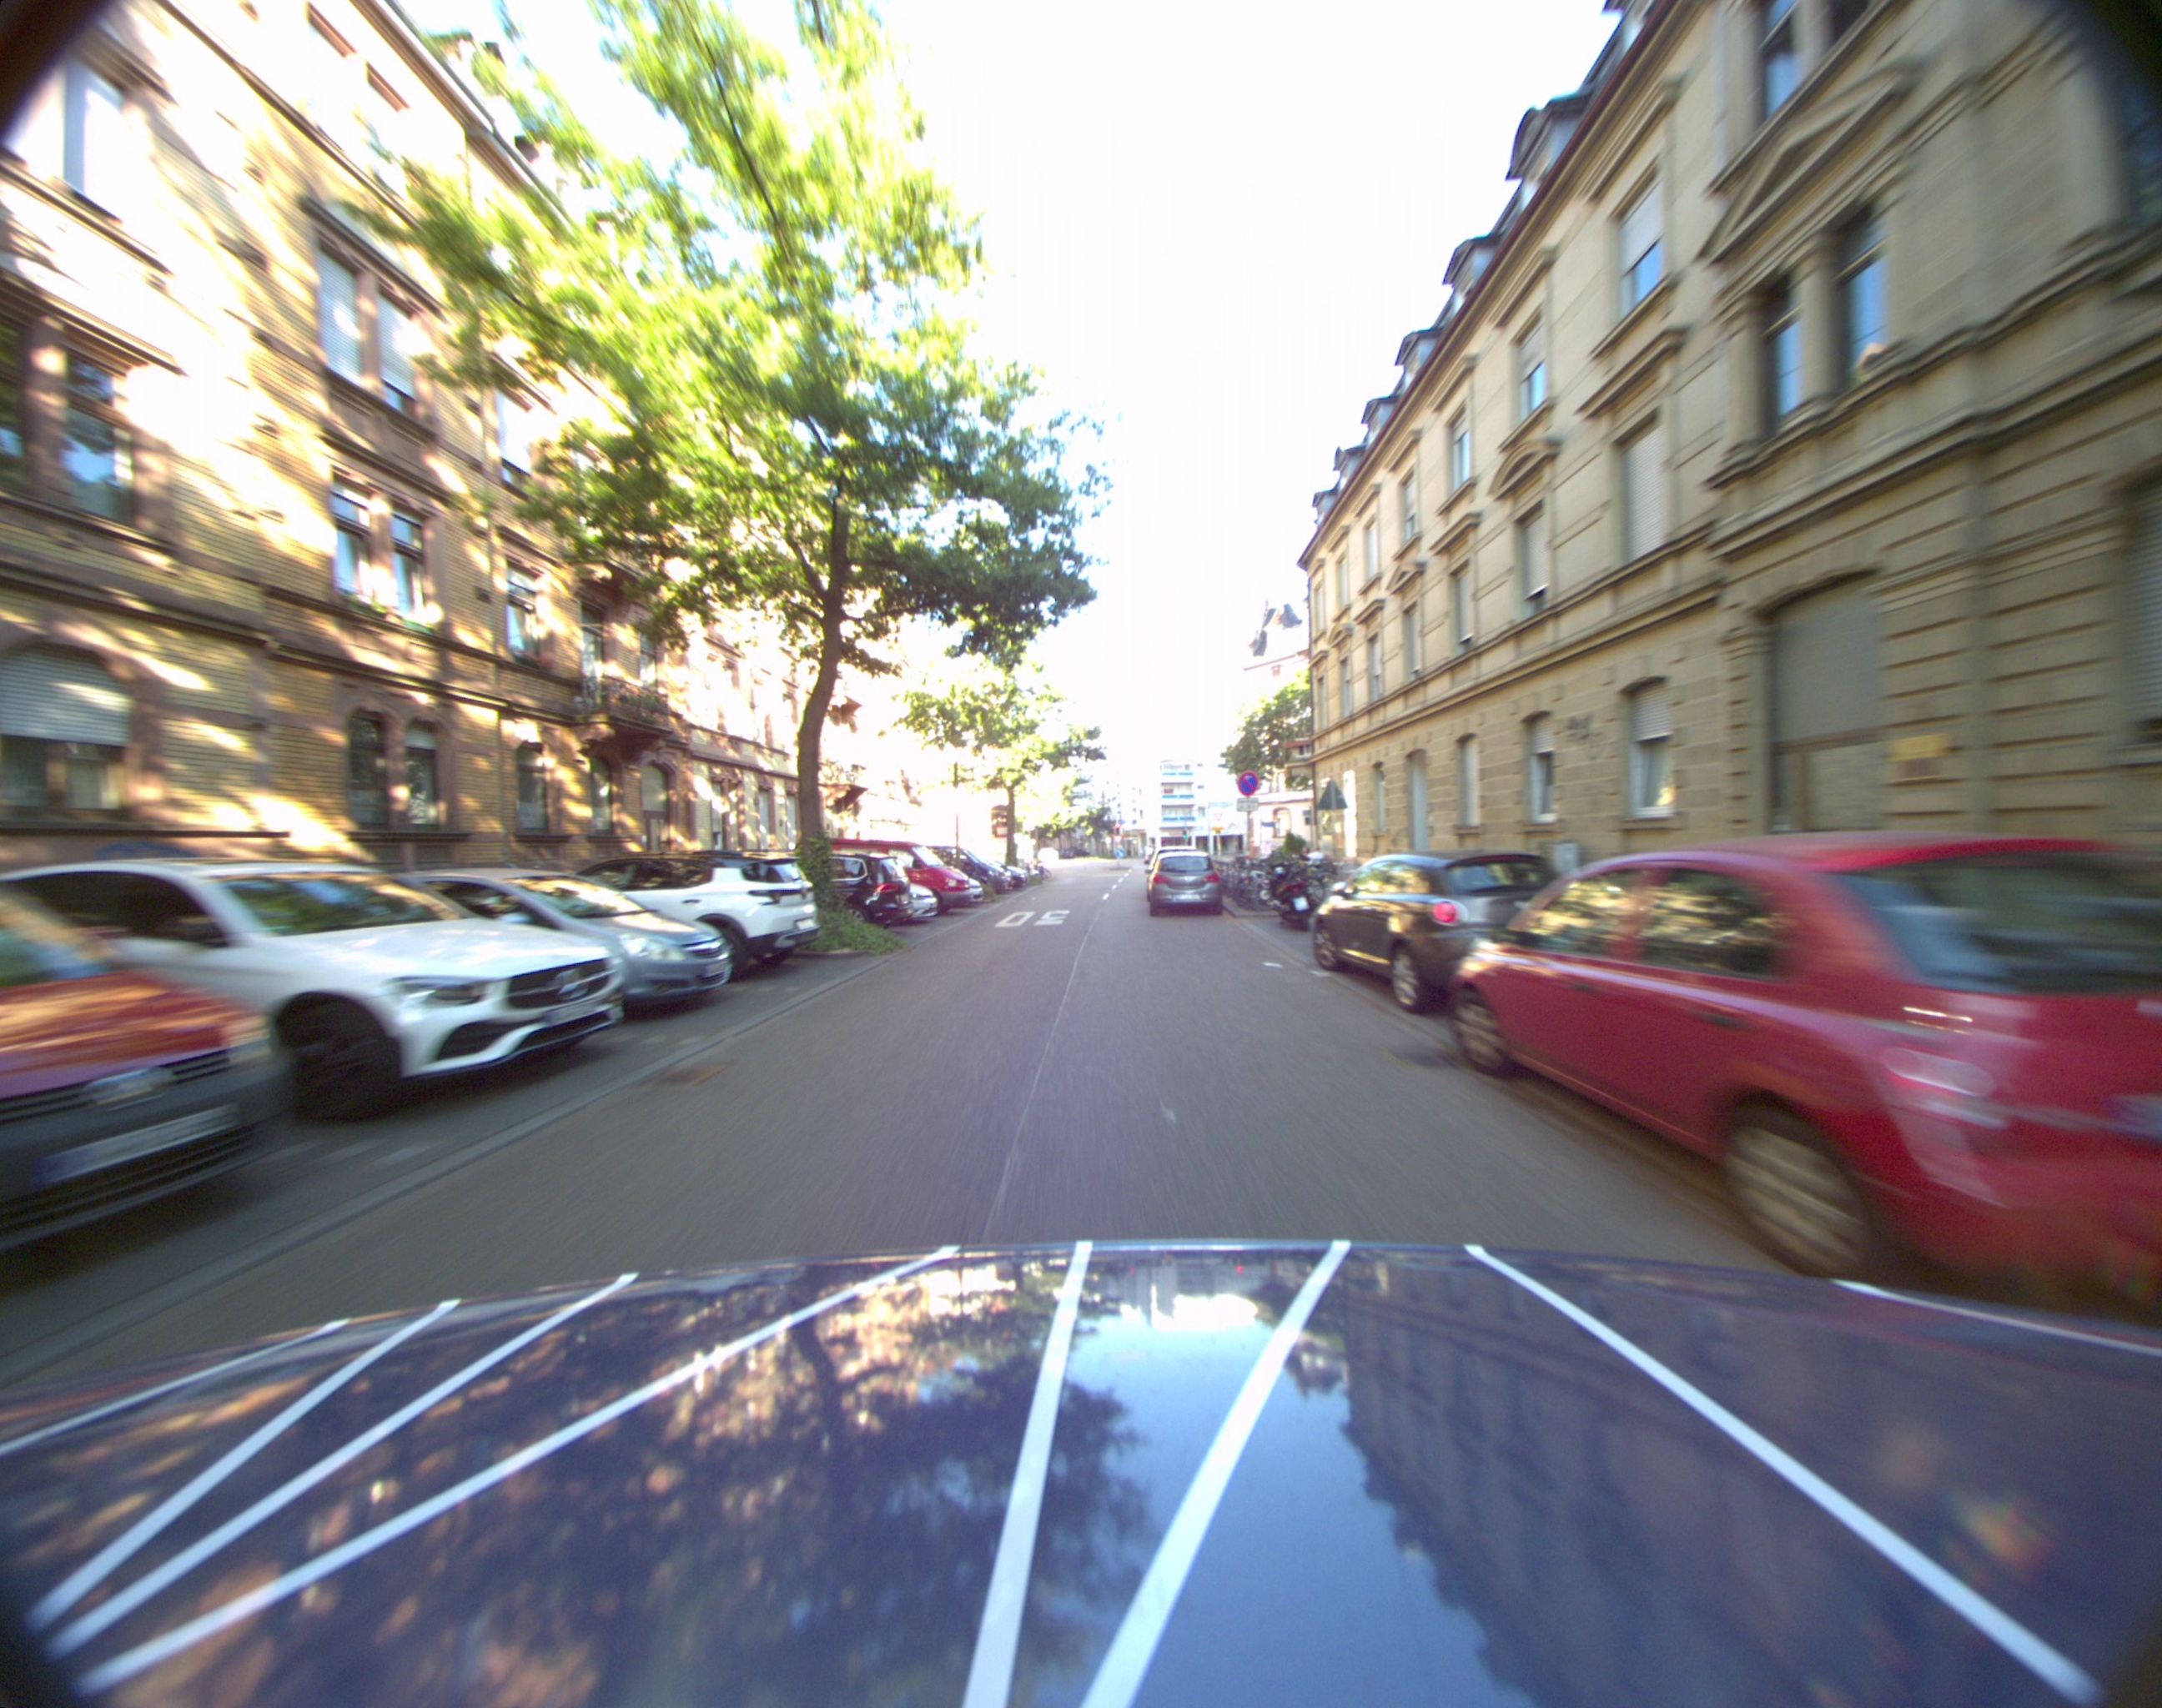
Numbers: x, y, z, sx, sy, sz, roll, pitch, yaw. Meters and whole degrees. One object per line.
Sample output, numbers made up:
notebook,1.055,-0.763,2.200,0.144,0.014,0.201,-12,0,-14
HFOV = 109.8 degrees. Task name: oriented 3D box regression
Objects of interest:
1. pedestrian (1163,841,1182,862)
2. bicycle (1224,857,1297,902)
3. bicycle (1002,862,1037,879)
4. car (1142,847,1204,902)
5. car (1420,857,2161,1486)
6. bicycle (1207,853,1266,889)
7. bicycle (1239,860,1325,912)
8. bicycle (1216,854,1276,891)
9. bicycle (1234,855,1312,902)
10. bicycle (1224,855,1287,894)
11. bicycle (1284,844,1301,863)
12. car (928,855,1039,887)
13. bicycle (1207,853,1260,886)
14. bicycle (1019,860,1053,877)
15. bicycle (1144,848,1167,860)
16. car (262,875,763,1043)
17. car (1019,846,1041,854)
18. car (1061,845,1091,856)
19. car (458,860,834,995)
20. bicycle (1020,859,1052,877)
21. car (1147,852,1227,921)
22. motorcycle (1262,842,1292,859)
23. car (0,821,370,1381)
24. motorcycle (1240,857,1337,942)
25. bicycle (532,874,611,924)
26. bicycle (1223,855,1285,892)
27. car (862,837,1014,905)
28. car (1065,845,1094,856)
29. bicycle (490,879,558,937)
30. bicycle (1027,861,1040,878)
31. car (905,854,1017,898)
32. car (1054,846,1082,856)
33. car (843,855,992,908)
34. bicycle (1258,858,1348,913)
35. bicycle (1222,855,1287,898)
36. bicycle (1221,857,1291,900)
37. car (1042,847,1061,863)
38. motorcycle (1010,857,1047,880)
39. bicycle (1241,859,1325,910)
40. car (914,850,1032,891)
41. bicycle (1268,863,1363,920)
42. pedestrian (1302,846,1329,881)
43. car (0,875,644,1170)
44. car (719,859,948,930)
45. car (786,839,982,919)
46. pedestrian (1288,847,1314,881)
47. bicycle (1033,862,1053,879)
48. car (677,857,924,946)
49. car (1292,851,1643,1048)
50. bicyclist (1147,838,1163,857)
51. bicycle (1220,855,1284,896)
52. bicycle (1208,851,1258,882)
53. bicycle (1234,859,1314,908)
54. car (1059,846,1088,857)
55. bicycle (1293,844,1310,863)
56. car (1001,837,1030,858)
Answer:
pedestrian,7.503,-0.217,62.499,1.175,1.670,1.005,-3,1,-27
bicycle,5.058,0.719,21.462,1.871,1.122,0.528,-3,2,3
bicycle,-3.391,0.913,41.972,1.935,0.922,0.354,1,2,2
car,2.966,0.594,24.586,1.762,1.590,4.552,-1,0,7
car,3.202,0.818,3.718,1.596,1.466,3.700,-4,0,4
bicycle,5.371,0.599,26.306,1.871,1.122,0.528,-3,2,5
bicycle,4.793,0.759,18.175,1.871,1.122,0.528,-3,2,3
bicycle,5.541,0.617,25.624,1.871,1.122,0.528,-3,2,5
bicycle,5.070,0.646,20.120,1.871,1.122,0.528,-3,2,3
bicycle,5.570,0.664,24.316,1.871,1.122,0.528,-3,2,5
bicycle,13.573,-0.038,48.850,0.547,1.189,2.960,-2,1,7
car,-4.469,0.774,35.320,4.795,1.405,1.851,0,1,5
bicycle,5.787,0.600,28.892,1.871,1.122,0.528,-3,2,5
bicycle,-2.622,0.822,44.629,1.938,0.982,0.496,0,2,-20
bicycle,6.382,-0.010,65.278,1.881,0.907,0.633,-4,1,-27
car,-5.756,1.003,8.042,4.019,1.426,1.794,1,1,4
car,-11.070,-0.833,164.816,4.307,1.576,1.997,-2,1,-16
car,-0.818,-0.526,121.949,4.307,1.576,1.997,-2,1,-18
car,-5.660,0.915,10.279,4.020,1.618,1.805,0,1,1
bicycle,-2.701,0.819,45.566,1.940,1.046,0.501,0,2,-34
car,2.558,0.732,19.160,1.762,1.492,4.061,-1,0,5
motorcycle,14.793,-0.269,57.388,2.112,1.258,0.841,-2,1,-23
car,-5.892,0.820,3.014,4.454,1.913,1.850,1,0,2
motorcycle,3.791,0.778,14.201,1.068,1.362,2.606,-3,1,0
bicycle,-11.043,0.941,16.537,0.405,0.957,1.867,1,1,3
bicycle,5.684,0.637,24.987,1.871,1.122,0.528,-3,2,5
car,-5.125,0.595,27.744,5.033,2.202,1.993,-2,1,3
car,-0.268,-0.607,119.565,4.003,1.576,1.997,-2,1,-18
bicycle,-10.699,1.001,14.650,0.406,0.957,1.864,1,1,-15
bicycle,-2.708,0.872,43.230,0.354,0.922,1.526,1,2,10
car,-4.767,0.860,30.544,4.115,1.526,1.725,-2,1,3
car,-2.202,-0.492,126.744,4.307,1.576,1.997,-2,1,-18
car,-4.854,0.815,22.986,4.063,1.502,1.879,0,1,2
bicycle,5.129,0.722,17.619,1.871,1.122,0.528,-3,2,3
bicycle,5.216,0.661,22.816,1.875,1.122,0.527,-4,2,-20
bicycle,5.087,0.694,22.106,1.871,1.122,0.528,-3,2,3
car,-3.461,0.113,89.032,1.999,1.740,3.998,-2,1,-4
motorcycle,-2.847,0.771,41.350,1.902,1.227,0.686,0,1,3
bicycle,4.966,0.743,18.751,1.871,1.122,0.528,-3,2,3
car,-4.644,0.696,32.913,4.695,1.669,1.852,0,1,12
bicycle,5.157,0.812,16.755,1.871,1.122,0.528,-3,2,3
pedestrian,8.578,0.342,27.801,0.727,1.207,0.756,-2,1,0
car,-5.800,0.973,5.509,4.351,1.547,1.852,1,0,10
car,-5.640,0.888,17.686,4.685,1.506,1.879,0,1,4
car,-5.146,0.625,20.290,4.685,2.022,1.879,0,1,3
pedestrian,8.435,0.362,29.146,0.727,1.252,0.756,-2,1,0
bicycle,-2.152,0.927,42.808,0.353,0.922,1.416,2,2,33
car,-5.438,0.881,15.093,4.196,1.618,1.837,0,1,2
car,3.709,0.779,8.220,1.763,1.492,4.060,-4,0,2
bicyclist,6.322,-0.526,65.258,1.082,1.544,0.633,-4,1,-27
bicycle,5.277,0.656,23.423,1.875,1.122,0.527,-4,2,-20
bicycle,6.100,0.514,30.514,1.871,1.122,0.528,-3,2,5
bicycle,4.936,0.749,19.455,1.871,1.122,0.528,-3,2,3
car,-1.230,-0.438,124.507,4.307,1.576,1.997,-2,1,-18
bicycle,14.164,-0.062,48.788,0.547,1.189,2.960,-2,1,7
car,-10.831,-1.087,124.953,3.328,3.161,8.071,-2,1,-15
